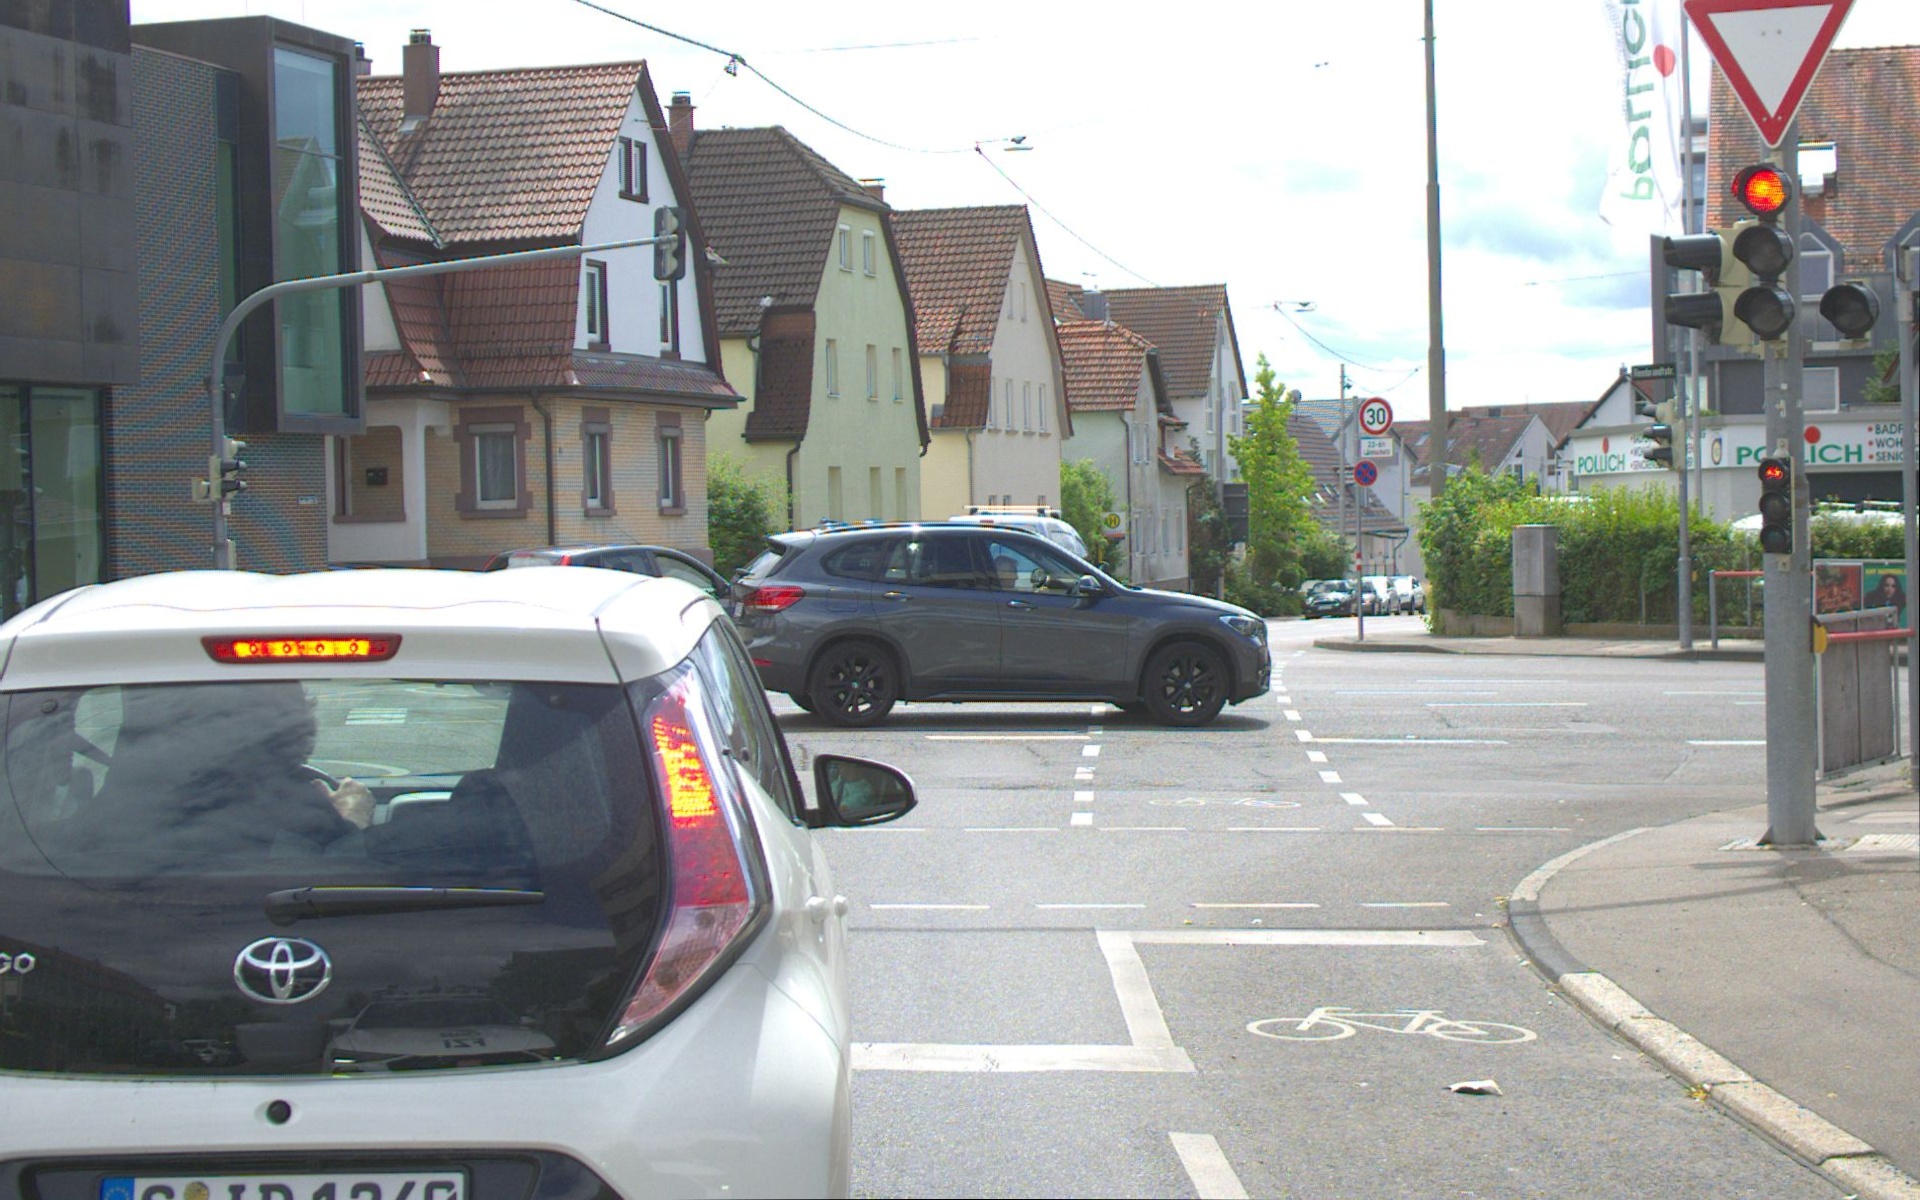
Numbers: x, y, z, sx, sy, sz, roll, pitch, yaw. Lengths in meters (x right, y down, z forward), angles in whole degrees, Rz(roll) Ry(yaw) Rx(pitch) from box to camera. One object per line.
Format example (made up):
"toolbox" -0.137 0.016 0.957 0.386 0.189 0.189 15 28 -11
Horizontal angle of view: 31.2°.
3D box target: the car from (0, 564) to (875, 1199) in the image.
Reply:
"car" -1.033 0.673 6.316 1.697 1.451 3.299 0 1 -2

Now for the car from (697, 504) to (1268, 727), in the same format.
"car" 0.132 0.090 27.806 4.291 1.670 2.001 -1 1 -11

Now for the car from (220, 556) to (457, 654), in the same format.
"car" -10.635 0.073 58.886 3.616 1.600 1.691 1 1 11

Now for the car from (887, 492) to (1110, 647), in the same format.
"car" 0.546 -0.401 43.378 1.995 1.842 4.071 1 1 13

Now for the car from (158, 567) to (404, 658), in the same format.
"car" -11.193 0.193 56.764 3.616 1.414 1.691 1 1 11

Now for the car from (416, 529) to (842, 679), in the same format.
"car" -3.445 0.022 36.045 3.988 1.481 2.000 0 1 -37

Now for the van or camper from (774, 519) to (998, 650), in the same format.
"van or camper" -1.085 -0.265 53.777 2.117 1.919 5.282 1 1 15
